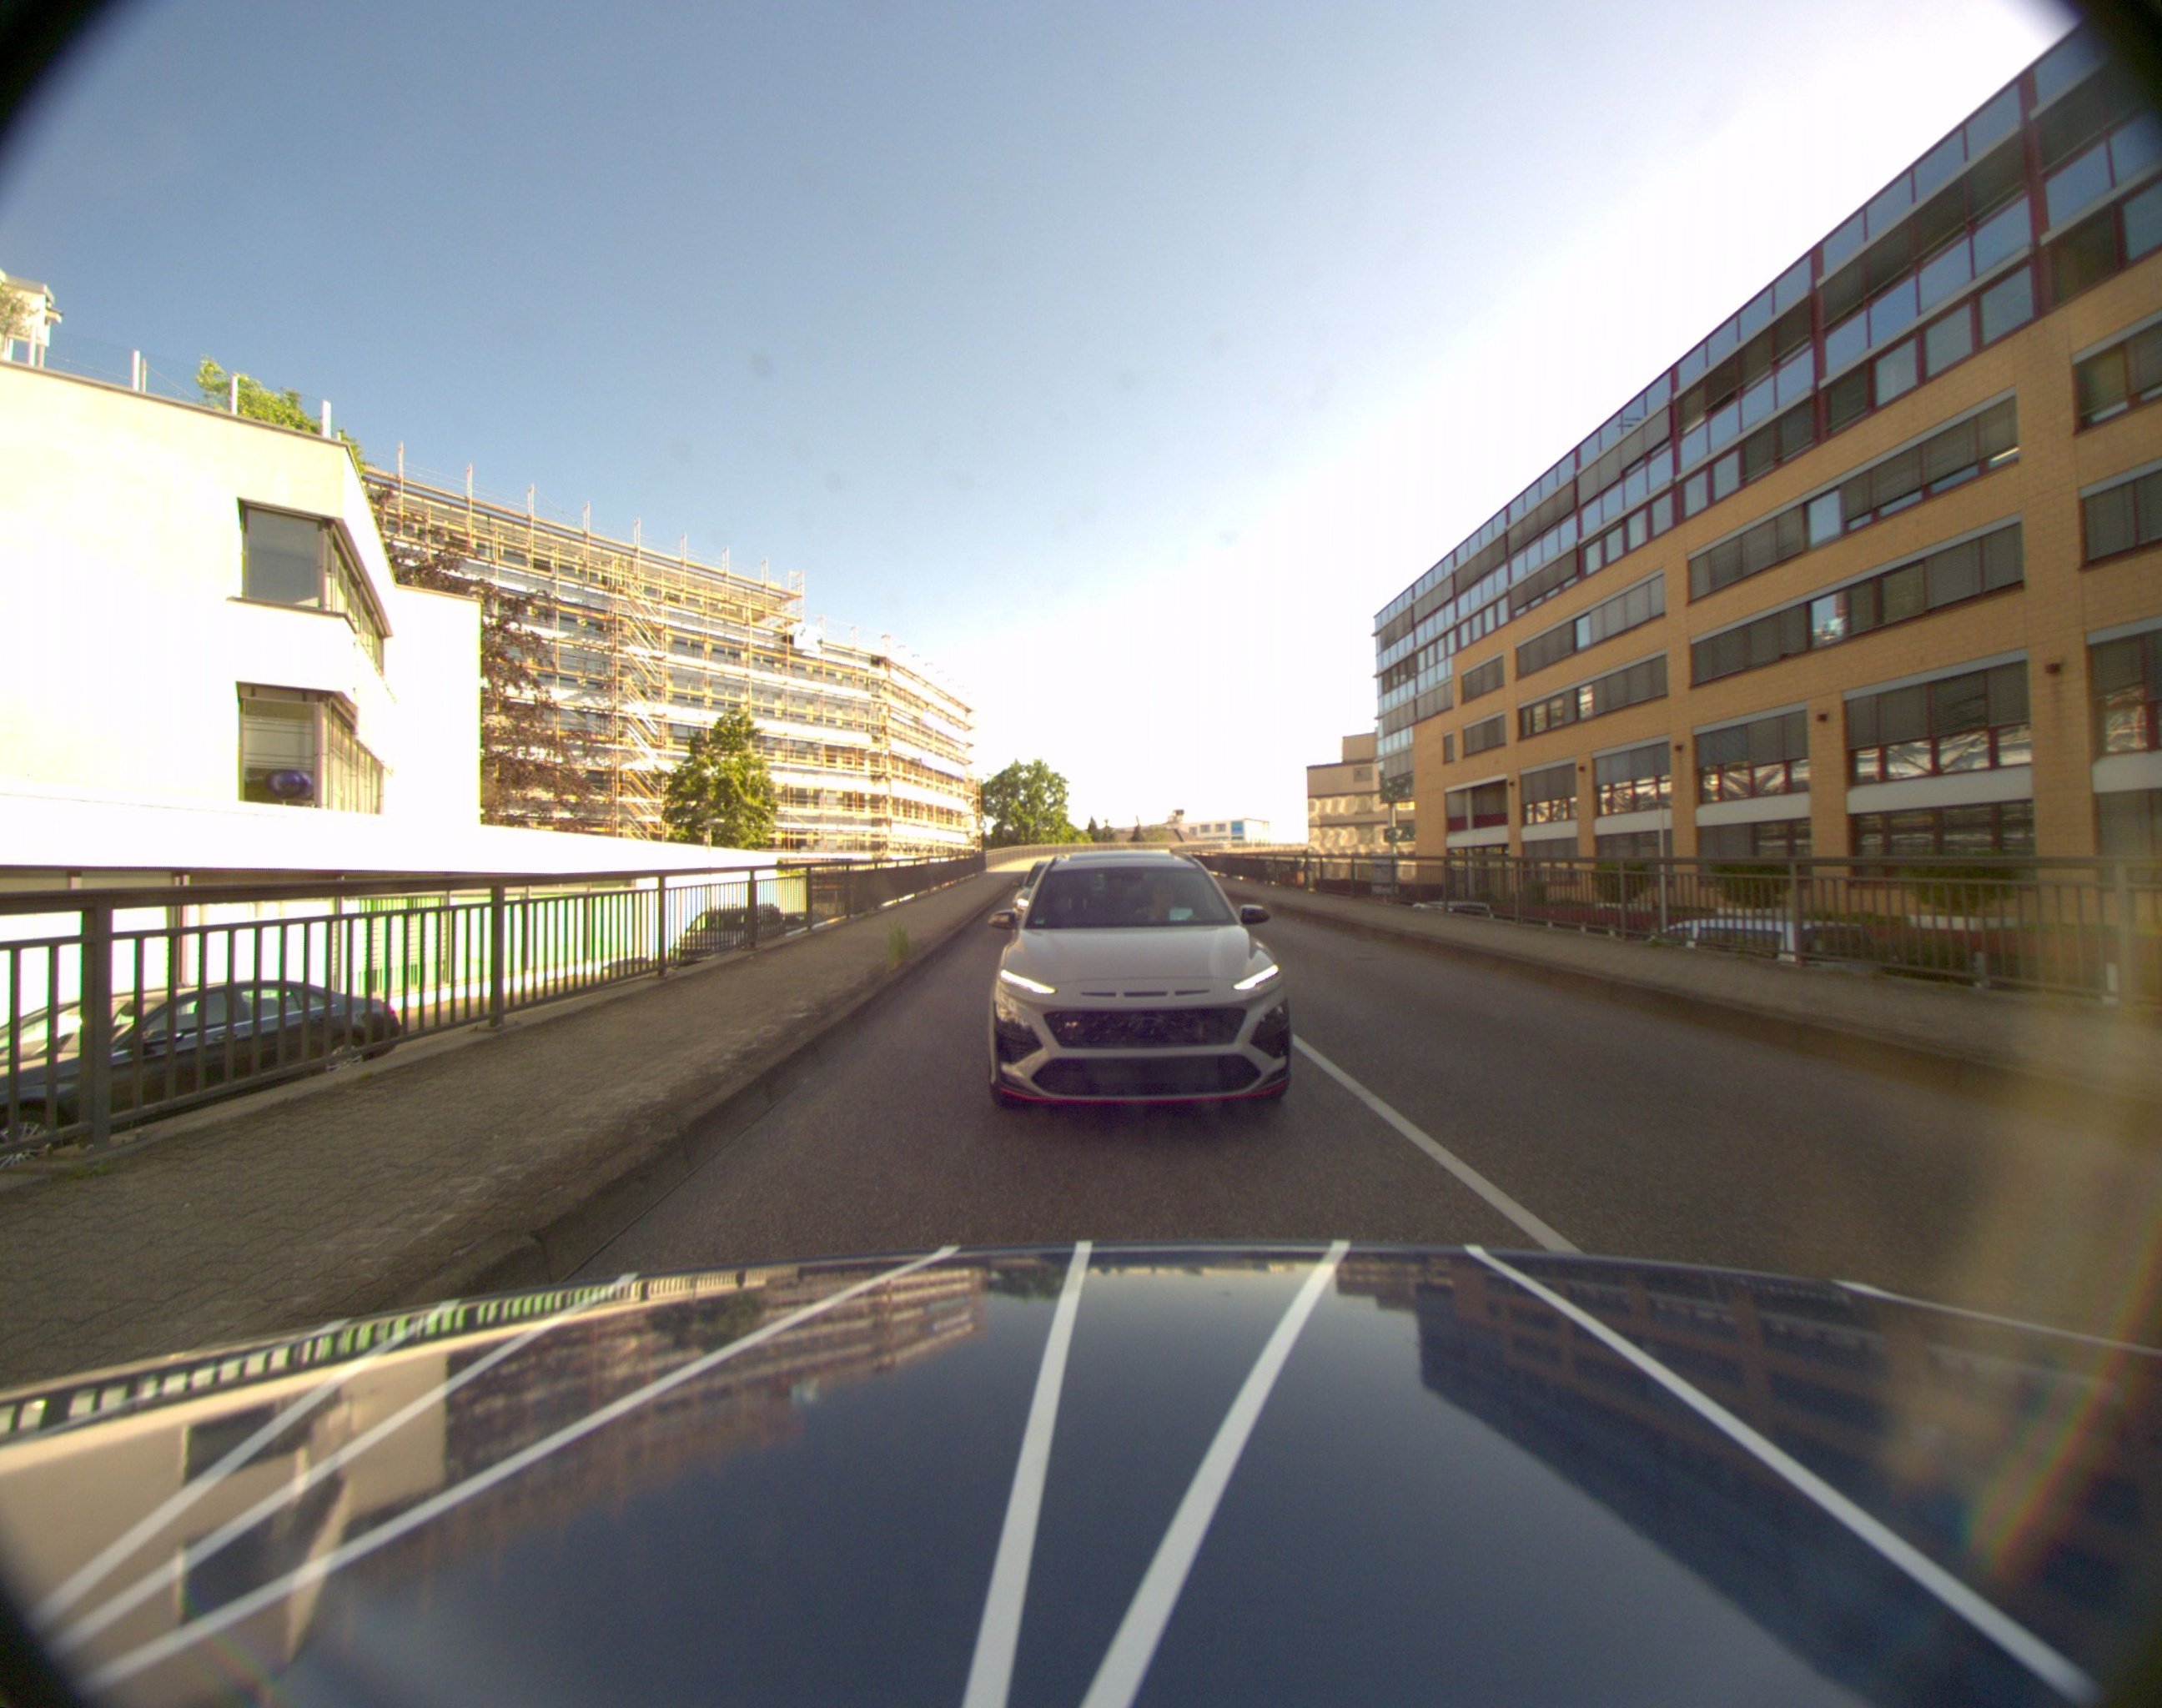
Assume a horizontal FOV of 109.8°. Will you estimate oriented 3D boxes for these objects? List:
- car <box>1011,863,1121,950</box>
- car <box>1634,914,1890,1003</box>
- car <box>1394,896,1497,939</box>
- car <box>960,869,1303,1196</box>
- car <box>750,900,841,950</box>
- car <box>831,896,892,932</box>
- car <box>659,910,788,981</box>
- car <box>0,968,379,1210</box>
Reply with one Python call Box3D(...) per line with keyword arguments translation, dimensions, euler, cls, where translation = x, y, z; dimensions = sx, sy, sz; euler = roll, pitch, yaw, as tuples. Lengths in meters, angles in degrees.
Box3D(translation=(-0.307, 0.939, 15.237), dimensions=(1.902, 1.433, 4.126), euler=(0, 0, -1), cls="car")
Box3D(translation=(13.044, 1.941, 14.910), dimensions=(1.580, 1.261, 3.809), euler=(0, -1, -1), cls="car")
Box3D(translation=(12.737, 2.197, 26.817), dimensions=(1.766, 1.261, 3.809), euler=(0, -1, -1), cls="car")
Box3D(translation=(0.283, 0.948, 5.881), dimensions=(1.749, 1.637, 4.001), euler=(0, -1, 1), cls="car")
Box3D(translation=(-10.094, 2.482, 27.205), dimensions=(1.726, 1.383, 4.000), euler=(-2, -1, -1), cls="car")
Box3D(translation=(-10.217, 2.778, 35.665), dimensions=(1.726, 1.383, 4.000), euler=(-2, -1, -1), cls="car")
Box3D(translation=(-9.913, 2.475, 21.417), dimensions=(1.726, 1.513, 4.000), euler=(-2, -1, -1), cls="car")
Box3D(translation=(-9.602, 2.169, 7.406), dimensions=(1.726, 1.513, 4.001), euler=(-2, -1, 1), cls="car")
